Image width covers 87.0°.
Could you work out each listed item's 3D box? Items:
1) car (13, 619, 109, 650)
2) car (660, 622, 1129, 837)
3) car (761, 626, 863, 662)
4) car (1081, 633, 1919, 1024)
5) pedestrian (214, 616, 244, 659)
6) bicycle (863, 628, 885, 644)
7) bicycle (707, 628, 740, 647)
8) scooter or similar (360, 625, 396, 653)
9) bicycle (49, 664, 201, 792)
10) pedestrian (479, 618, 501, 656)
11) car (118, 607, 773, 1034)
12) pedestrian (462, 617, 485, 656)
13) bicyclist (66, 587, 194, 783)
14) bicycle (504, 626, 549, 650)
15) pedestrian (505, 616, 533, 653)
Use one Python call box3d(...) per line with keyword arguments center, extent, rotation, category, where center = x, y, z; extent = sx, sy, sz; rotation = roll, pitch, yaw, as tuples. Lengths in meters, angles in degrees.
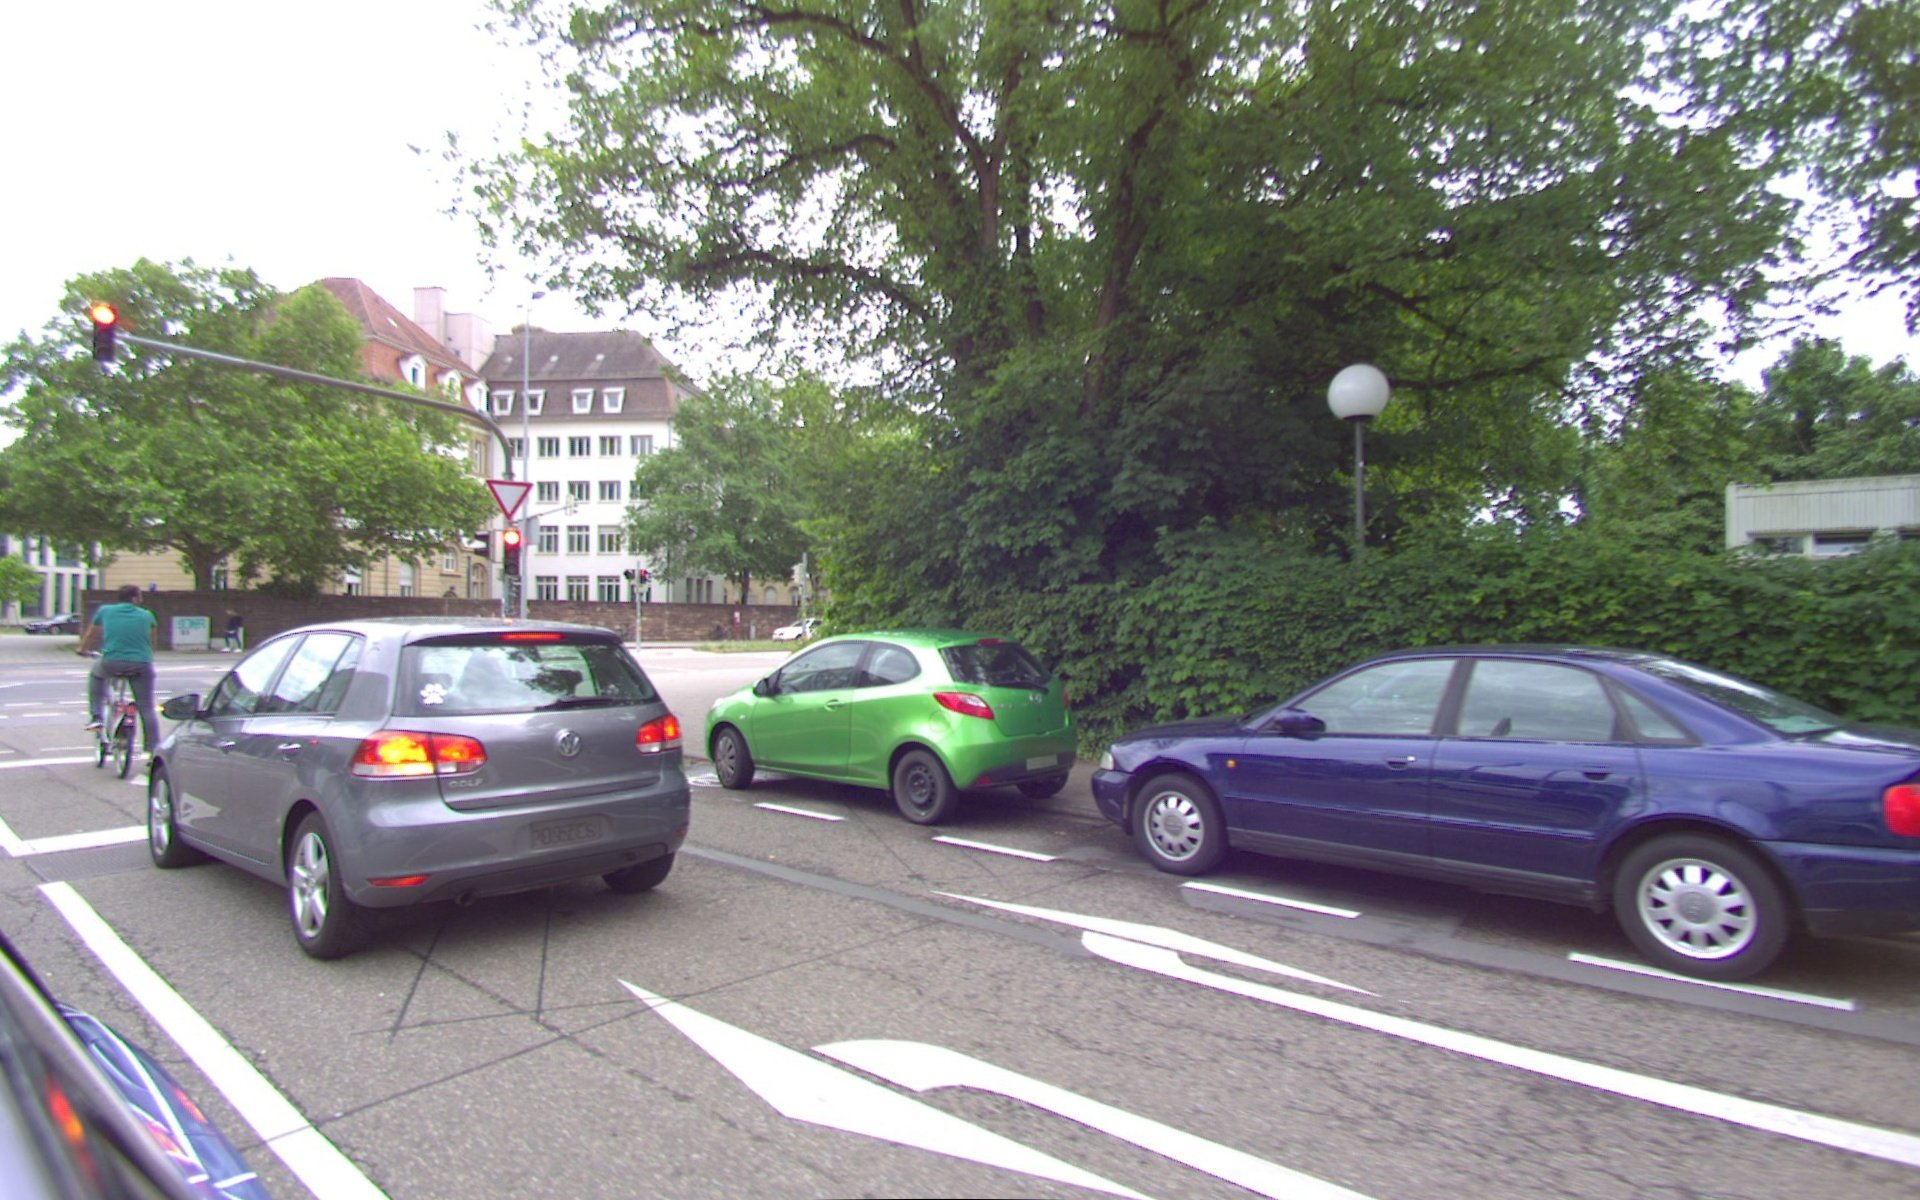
box3d(center=(-58.438, 2.193, 65.899), extent=(1.977, 1.593, 4.394), rotation=(-10, -2, 6), category="car")
box3d(center=(-0.763, 0.956, 9.139), extent=(4.247, 1.481, 1.778), rotation=(-1, -2, 42), category="car")
box3d(center=(-7.952, 2.355, 54.786), extent=(2.048, 1.710, 5.296), rotation=(-4, -3, 44), category="car")
box3d(center=(2.950, 0.924, 5.671), extent=(4.338, 1.419, 1.777), rotation=(-1, -3, 44), category="car")
box3d(center=(-29.084, 1.485, 40.259), extent=(0.791, 1.677, 0.798), rotation=(-3, -3, 43), category="pedestrian")
box3d(center=(-6.491, 2.717, 76.708), extent=(0.505, 1.157, 2.227), rotation=(1, -1, 27), category="bicycle")
box3d(center=(-14.614, 2.293, 62.526), extent=(0.663, 1.157, 2.134), rotation=(1, -1, 30), category="bicycle")
box3d(center=(-26.333, 1.753, 45.776), extent=(1.389, 1.239, 0.497), rotation=(2, -1, -31), category="scooter or similar")
box3d(center=(-7.972, 1.167, 9.636), extent=(1.853, 1.045, 0.651), rotation=(-1, -2, 36), category="bicycle")
box3d(center=(-21.852, 1.712, 47.090), extent=(0.779, 1.706, 0.634), rotation=(1, -1, 41), category="pedestrian")
box3d(center=(-3.073, 0.830, 5.631), extent=(4.165, 1.508, 1.765), rotation=(-1, -2, 40), category="car")
box3d(center=(-22.407, 1.681, 46.597), extent=(0.734, 1.752, 0.662), rotation=(0, -1, 38), category="pedestrian")
box3d(center=(-8.059, 0.788, 9.827), extent=(0.981, 1.793, 0.652), rotation=(-1, -2, 33), category="bicyclist")
box3d(center=(-21.999, 1.926, 51.413), extent=(0.581, 1.194, 2.132), rotation=(1, -1, 32), category="bicycle")
box3d(center=(-21.452, 1.669, 49.211), extent=(0.757, 1.802, 0.993), rotation=(1, -1, 39), category="pedestrian")
